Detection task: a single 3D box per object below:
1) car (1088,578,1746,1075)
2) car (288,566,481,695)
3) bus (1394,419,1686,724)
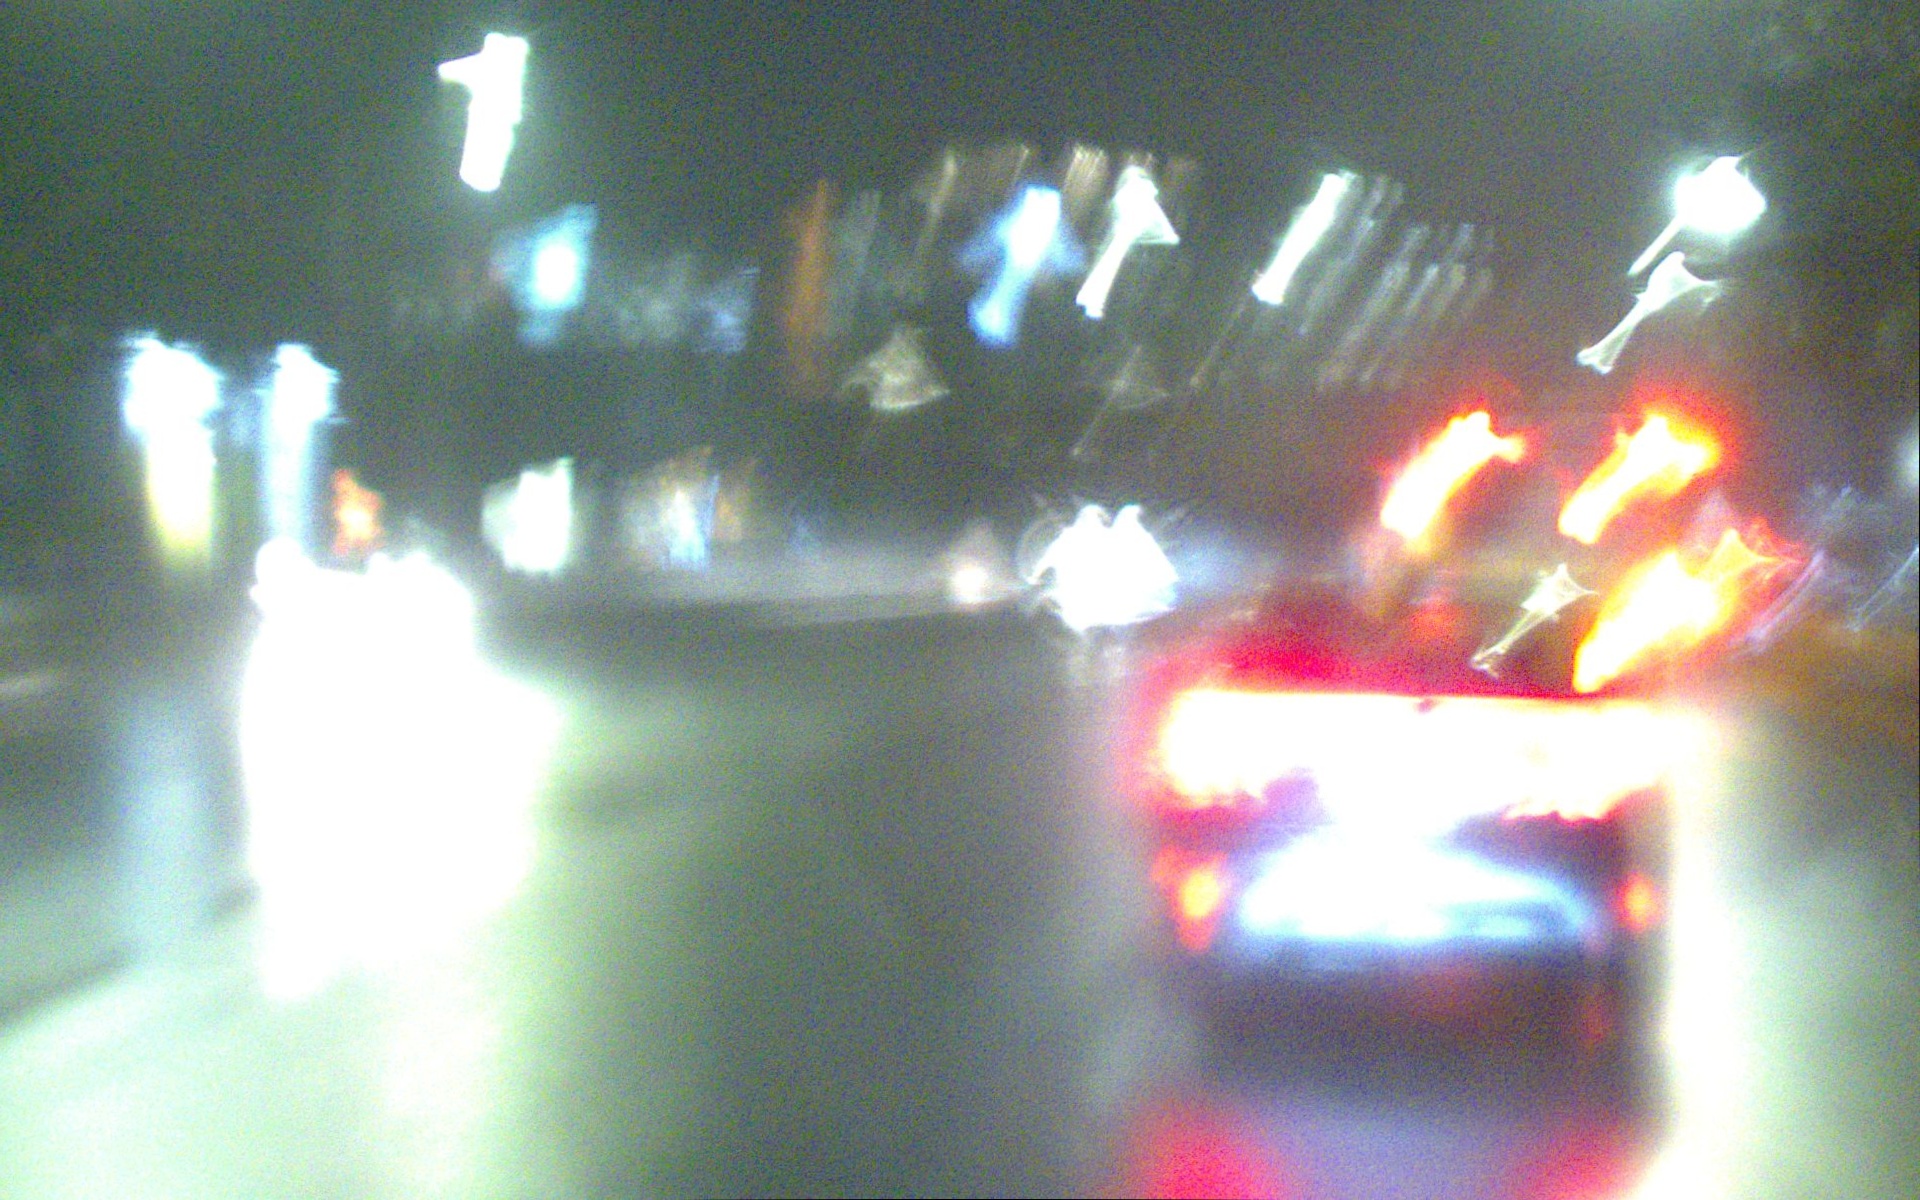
[{"bbox_3d":[1.597,0.698,12.625,1.994,1.519,3.999,-1,0,6],"label":"car"},{"bbox_3d":[-7.053,0.352,42.472,1.826,1.498,4.188,1,0,-2],"label":"car"},{"bbox_3d":[6.949,-0.306,40.813,3.045,3.201,9.046,0,0,11],"label":"bus"}]
